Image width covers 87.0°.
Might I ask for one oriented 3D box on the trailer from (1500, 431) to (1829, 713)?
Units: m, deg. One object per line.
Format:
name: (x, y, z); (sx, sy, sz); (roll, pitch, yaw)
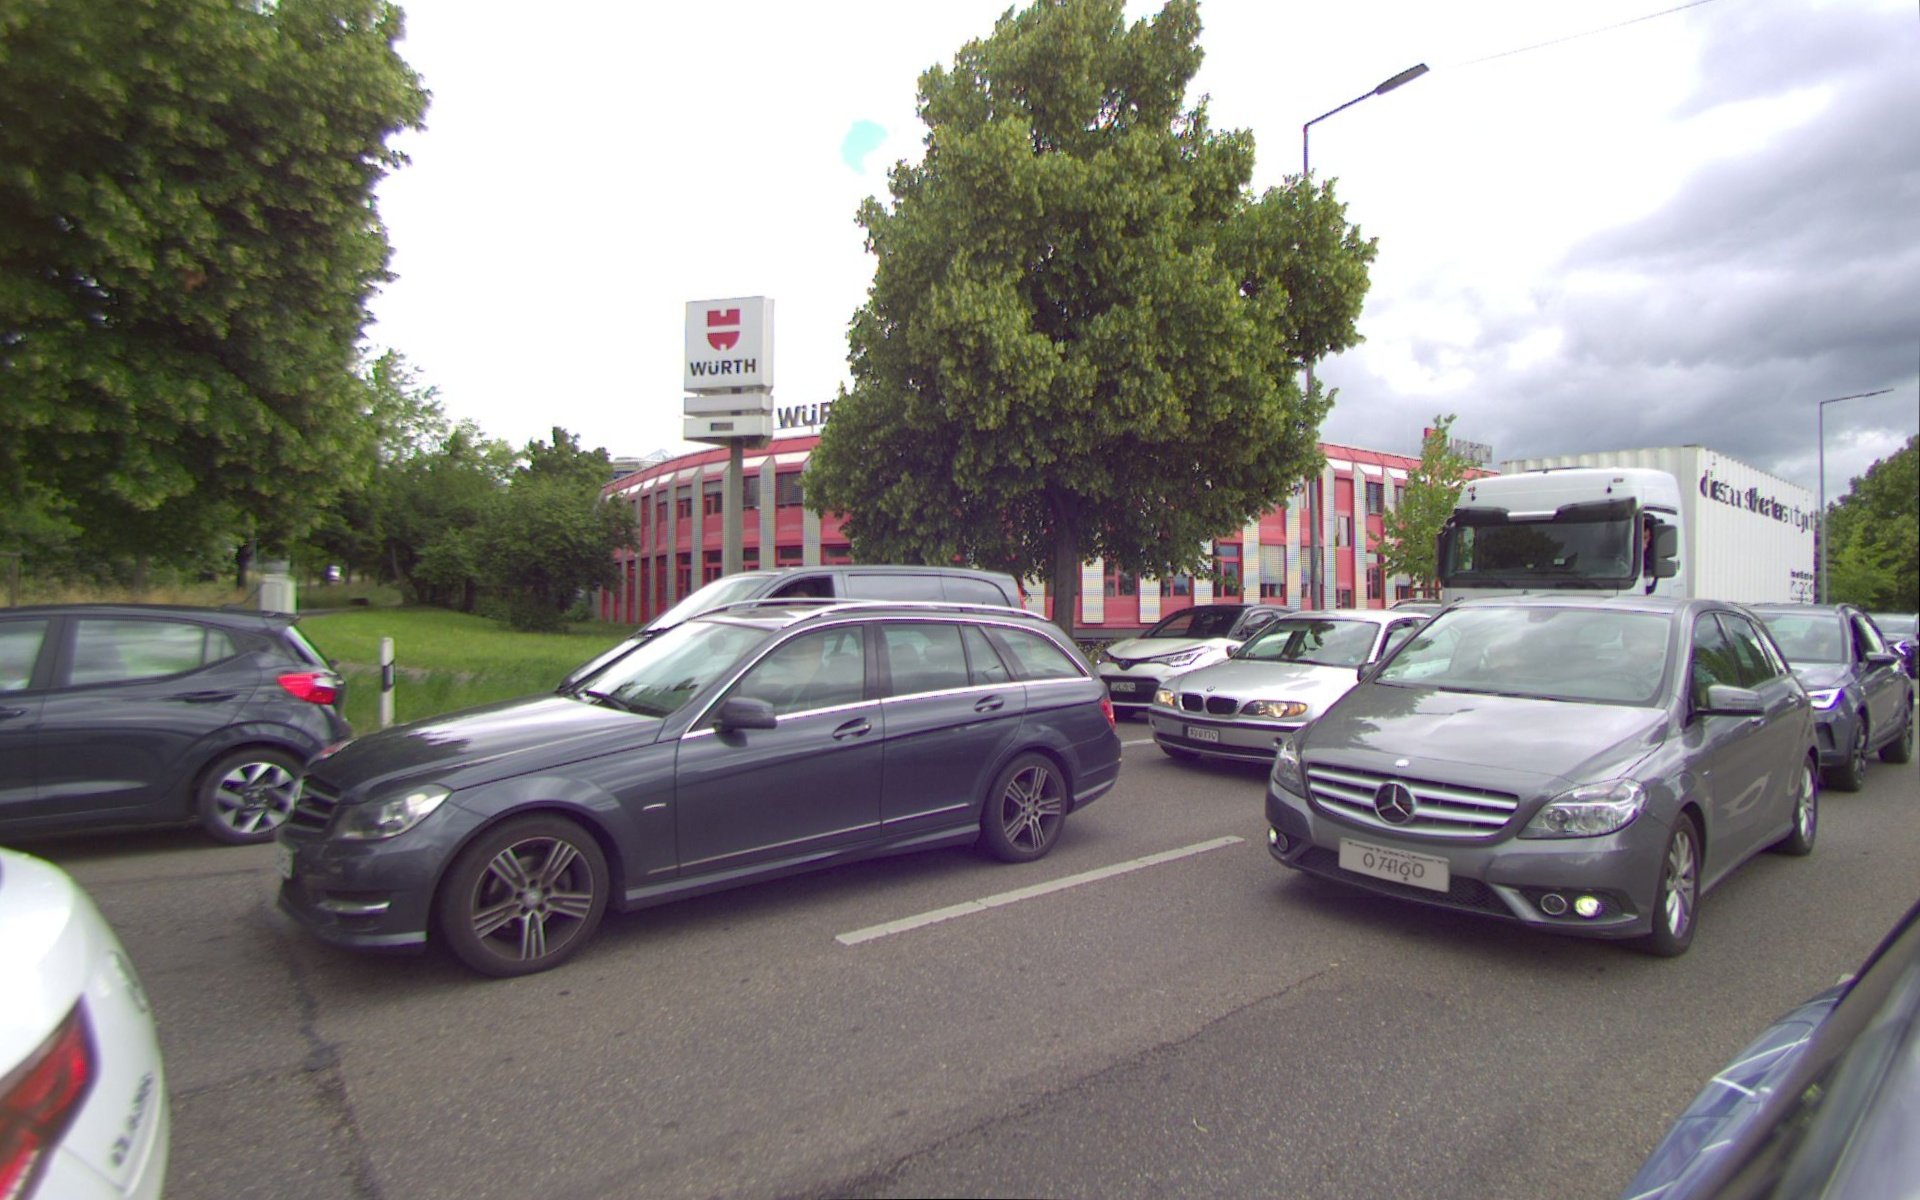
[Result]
trailer: (11.990, -0.329, 16.889); (7.624, 3.753, 2.571); (1, -1, -40)

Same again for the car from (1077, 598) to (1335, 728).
car: (3.409, 0.745, 13.738); (3.620, 1.515, 1.644); (0, 0, -42)

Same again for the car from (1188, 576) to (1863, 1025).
car: (3.261, 0.685, 5.484); (4.111, 1.543, 1.803); (0, 0, -39)

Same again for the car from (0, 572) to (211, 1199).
car: (-2.833, 0.689, 0.151); (4.280, 1.439, 1.725); (0, 0, -41)

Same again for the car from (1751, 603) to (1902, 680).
car: (19.404, 0.883, 22.613); (4.239, 1.543, 1.712); (1, 0, -37)

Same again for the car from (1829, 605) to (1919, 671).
car: (24.528, 0.957, 26.333); (4.319, 1.581, 1.851); (1, 0, -34)

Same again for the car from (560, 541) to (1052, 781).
car: (-1.321, 0.463, 9.828); (4.425, 1.826, 1.829); (0, 0, -40)

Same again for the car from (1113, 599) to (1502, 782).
car: (3.465, 0.692, 9.696); (4.047, 1.371, 1.814); (0, 0, -42)

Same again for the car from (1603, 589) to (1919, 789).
car: (7.734, 0.674, 9.521); (3.928, 1.505, 1.702); (1, 0, -39)

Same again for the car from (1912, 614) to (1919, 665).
car: (30.074, 1.203, 30.216); (4.405, 1.466, 1.676); (2, -1, -37)

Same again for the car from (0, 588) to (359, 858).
car: (-5.695, 0.700, 6.055); (3.570, 1.456, 1.519); (0, -3, -32)

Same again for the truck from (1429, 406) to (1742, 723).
truck: (8.868, -0.395, 14.271); (4.032, 3.753, 2.576); (2, -1, -39)

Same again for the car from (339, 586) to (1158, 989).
car: (-0.938, 0.686, 5.689); (4.137, 1.453, 1.829); (1, 0, -40)
